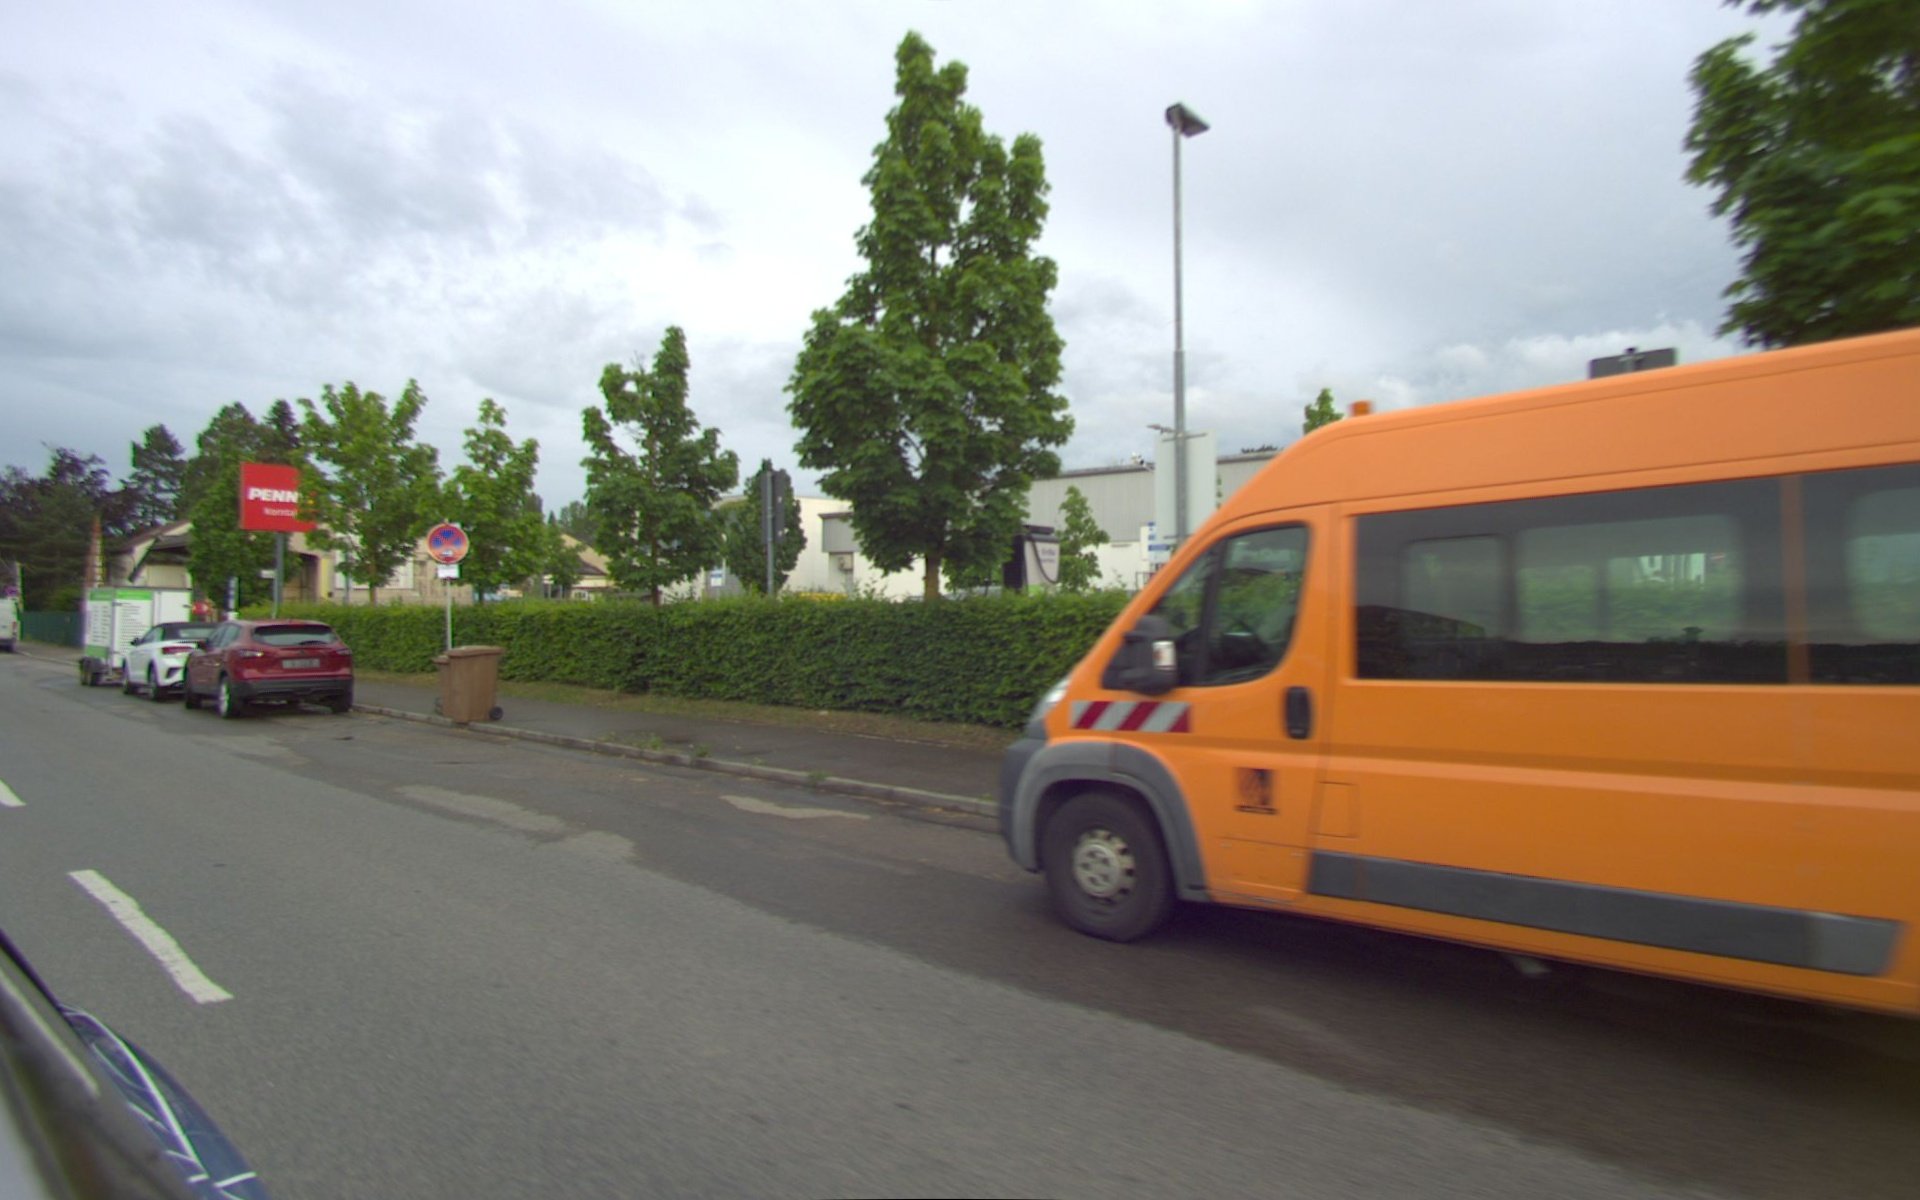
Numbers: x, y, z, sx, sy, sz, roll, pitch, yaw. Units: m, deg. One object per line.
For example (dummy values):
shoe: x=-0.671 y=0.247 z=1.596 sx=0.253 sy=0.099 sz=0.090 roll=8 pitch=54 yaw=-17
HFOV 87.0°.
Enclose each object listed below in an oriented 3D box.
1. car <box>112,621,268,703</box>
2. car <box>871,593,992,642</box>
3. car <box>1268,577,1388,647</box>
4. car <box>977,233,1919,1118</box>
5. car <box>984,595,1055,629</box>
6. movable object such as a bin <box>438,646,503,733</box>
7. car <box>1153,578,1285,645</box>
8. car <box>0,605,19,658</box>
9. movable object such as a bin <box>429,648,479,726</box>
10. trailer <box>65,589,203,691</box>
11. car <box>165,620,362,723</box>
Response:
car: x=-16.010 y=1.229 z=20.973 sx=4.134 sy=1.510 sz=1.754 roll=-2 pitch=-2 yaw=41
car: x=-0.833 y=0.504 z=31.957 sx=1.800 sy=1.397 sz=3.941 roll=-1 pitch=1 yaw=36
car: x=8.877 y=0.238 z=24.220 sx=1.691 sy=1.531 sz=3.855 roll=-1 pitch=1 yaw=36
car: x=3.028 y=0.240 z=4.111 sx=6.019 sy=2.557 sz=2.102 roll=-1 pitch=-2 yaw=41
car: x=3.059 y=0.602 z=51.274 sx=1.659 sy=1.618 sz=3.686 roll=0 pitch=1 yaw=42
movable object such as a bin: x=-7.054 y=1.277 z=14.590 sx=0.664 sy=1.166 sz=0.622 roll=-1 pitch=0 yaw=-45
car: x=6.623 y=0.244 z=25.599 sx=1.882 sy=1.563 sz=4.018 roll=-1 pitch=1 yaw=36
car: x=-47.471 y=1.481 z=48.953 sx=6.457 sy=2.445 sz=2.135 roll=-1 pitch=-4 yaw=41
movable object such as a bin: x=-7.521 y=1.283 z=15.039 sx=0.485 sy=1.090 sz=0.621 roll=-1 pitch=0 yaw=-44
trailer: x=-20.656 y=0.989 z=25.249 sx=4.727 sy=2.331 sz=1.794 roll=-1 pitch=-3 yaw=41
car: x=-12.230 y=1.146 z=17.660 sx=4.340 sy=1.585 sz=1.787 roll=-1 pitch=-2 yaw=41
